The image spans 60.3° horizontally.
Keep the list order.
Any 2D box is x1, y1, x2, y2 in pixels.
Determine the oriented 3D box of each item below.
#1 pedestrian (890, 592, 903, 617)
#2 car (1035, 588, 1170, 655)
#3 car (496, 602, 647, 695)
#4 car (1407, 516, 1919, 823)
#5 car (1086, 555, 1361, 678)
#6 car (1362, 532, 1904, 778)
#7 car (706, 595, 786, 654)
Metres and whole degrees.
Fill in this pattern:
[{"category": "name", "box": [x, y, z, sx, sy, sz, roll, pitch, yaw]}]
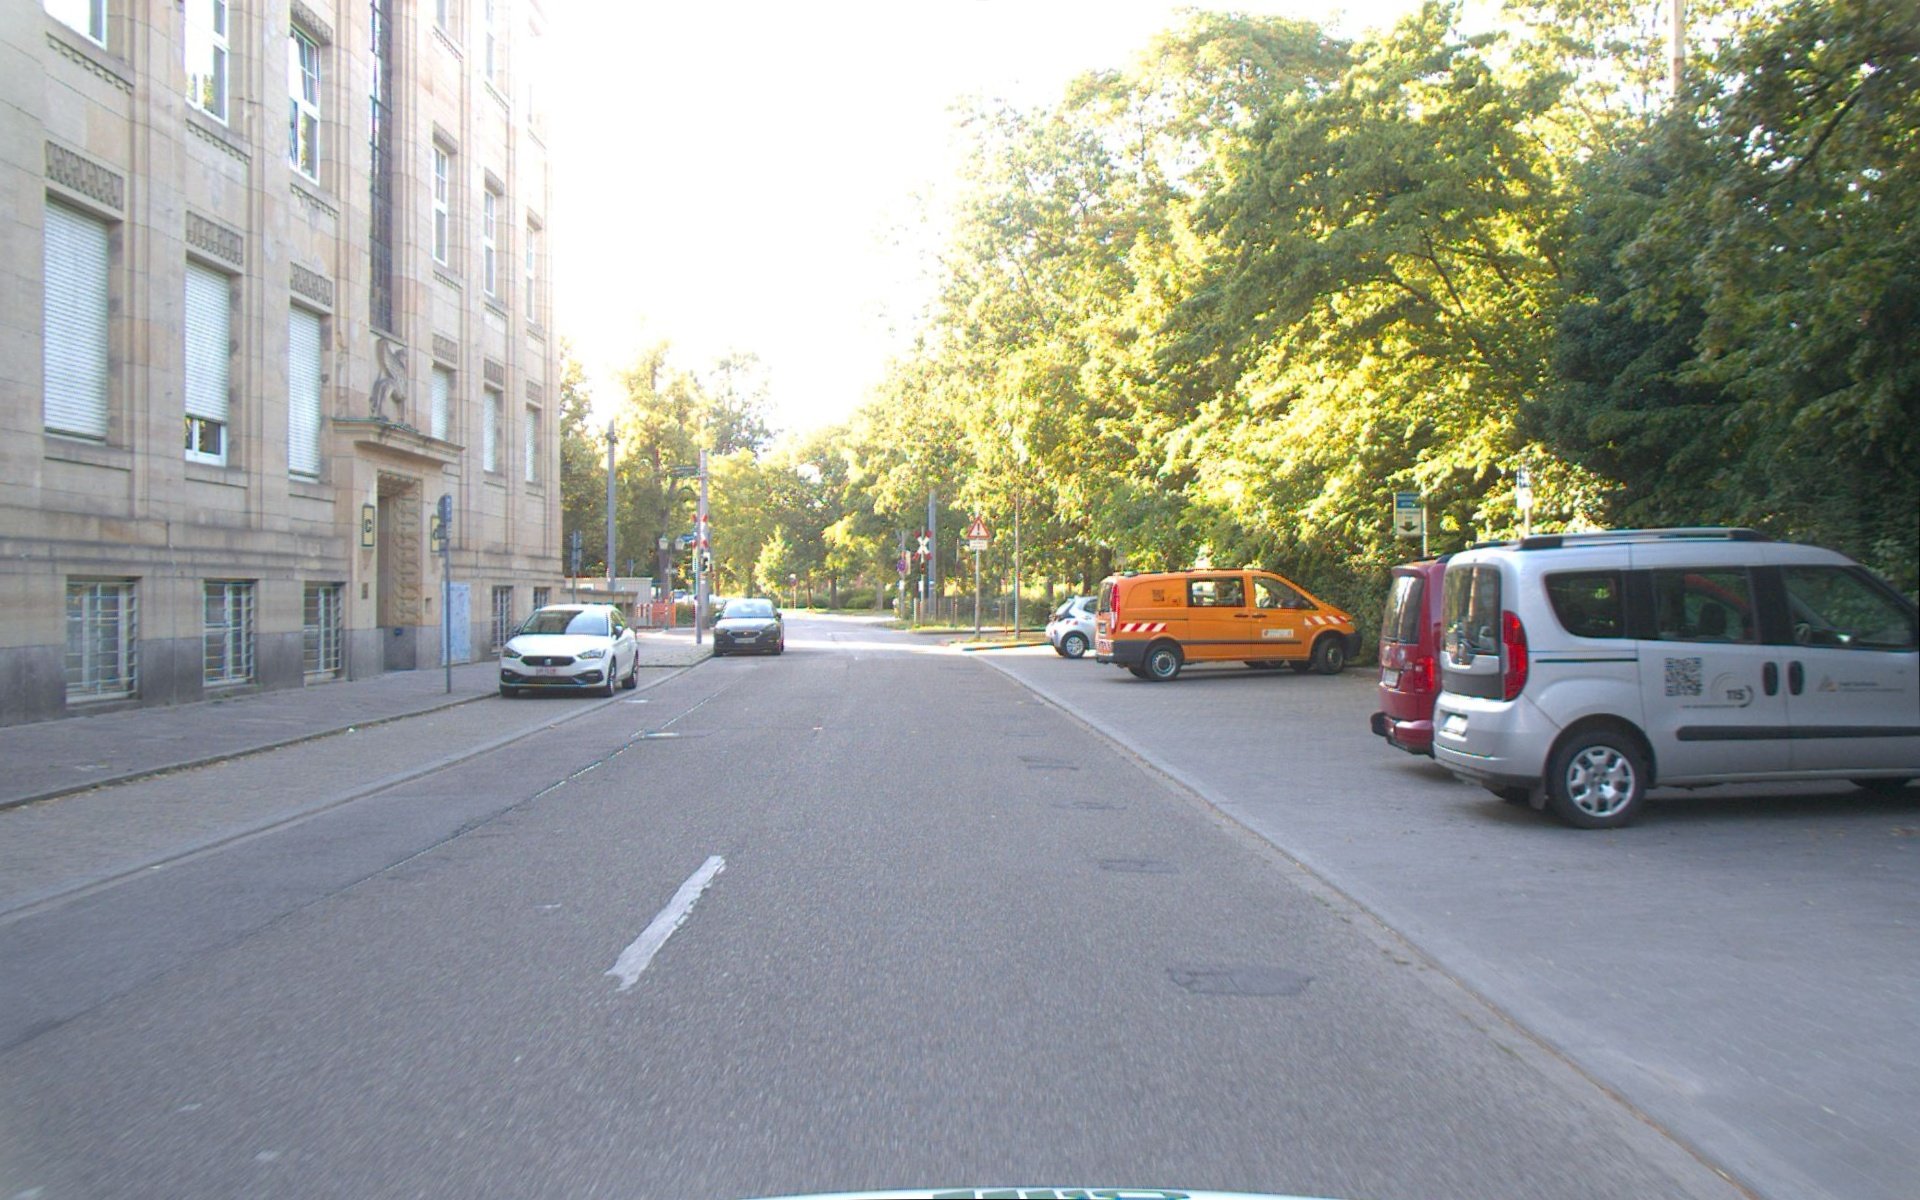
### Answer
[{"category": "pedestrian", "box": [-4.450, 0.306, 116.250, 0.809, 1.751, 0.875, 1, -2, 1]}, {"category": "car", "box": [3.556, 0.523, 41.428, 3.084, 1.529, 1.538, -2, 0, -7]}, {"category": "car", "box": [-6.363, 0.744, 27.516, 1.693, 1.421, 4.370, 0, 0, -3]}, {"category": "car", "box": [5.496, 0.430, 11.619, 4.142, 1.892, 2.000, -2, 0, 0]}, {"category": "car", "box": [4.874, 0.292, 30.941, 4.727, 2.049, 1.799, -2, 0, -7]}, {"category": "car", "box": [5.612, 0.439, 14.121, 3.941, 1.868, 1.614, -2, 0, 0]}, {"category": "car", "box": [-5.710, 0.613, 44.553, 1.841, 1.492, 4.370, 0, 0, -3]}]
